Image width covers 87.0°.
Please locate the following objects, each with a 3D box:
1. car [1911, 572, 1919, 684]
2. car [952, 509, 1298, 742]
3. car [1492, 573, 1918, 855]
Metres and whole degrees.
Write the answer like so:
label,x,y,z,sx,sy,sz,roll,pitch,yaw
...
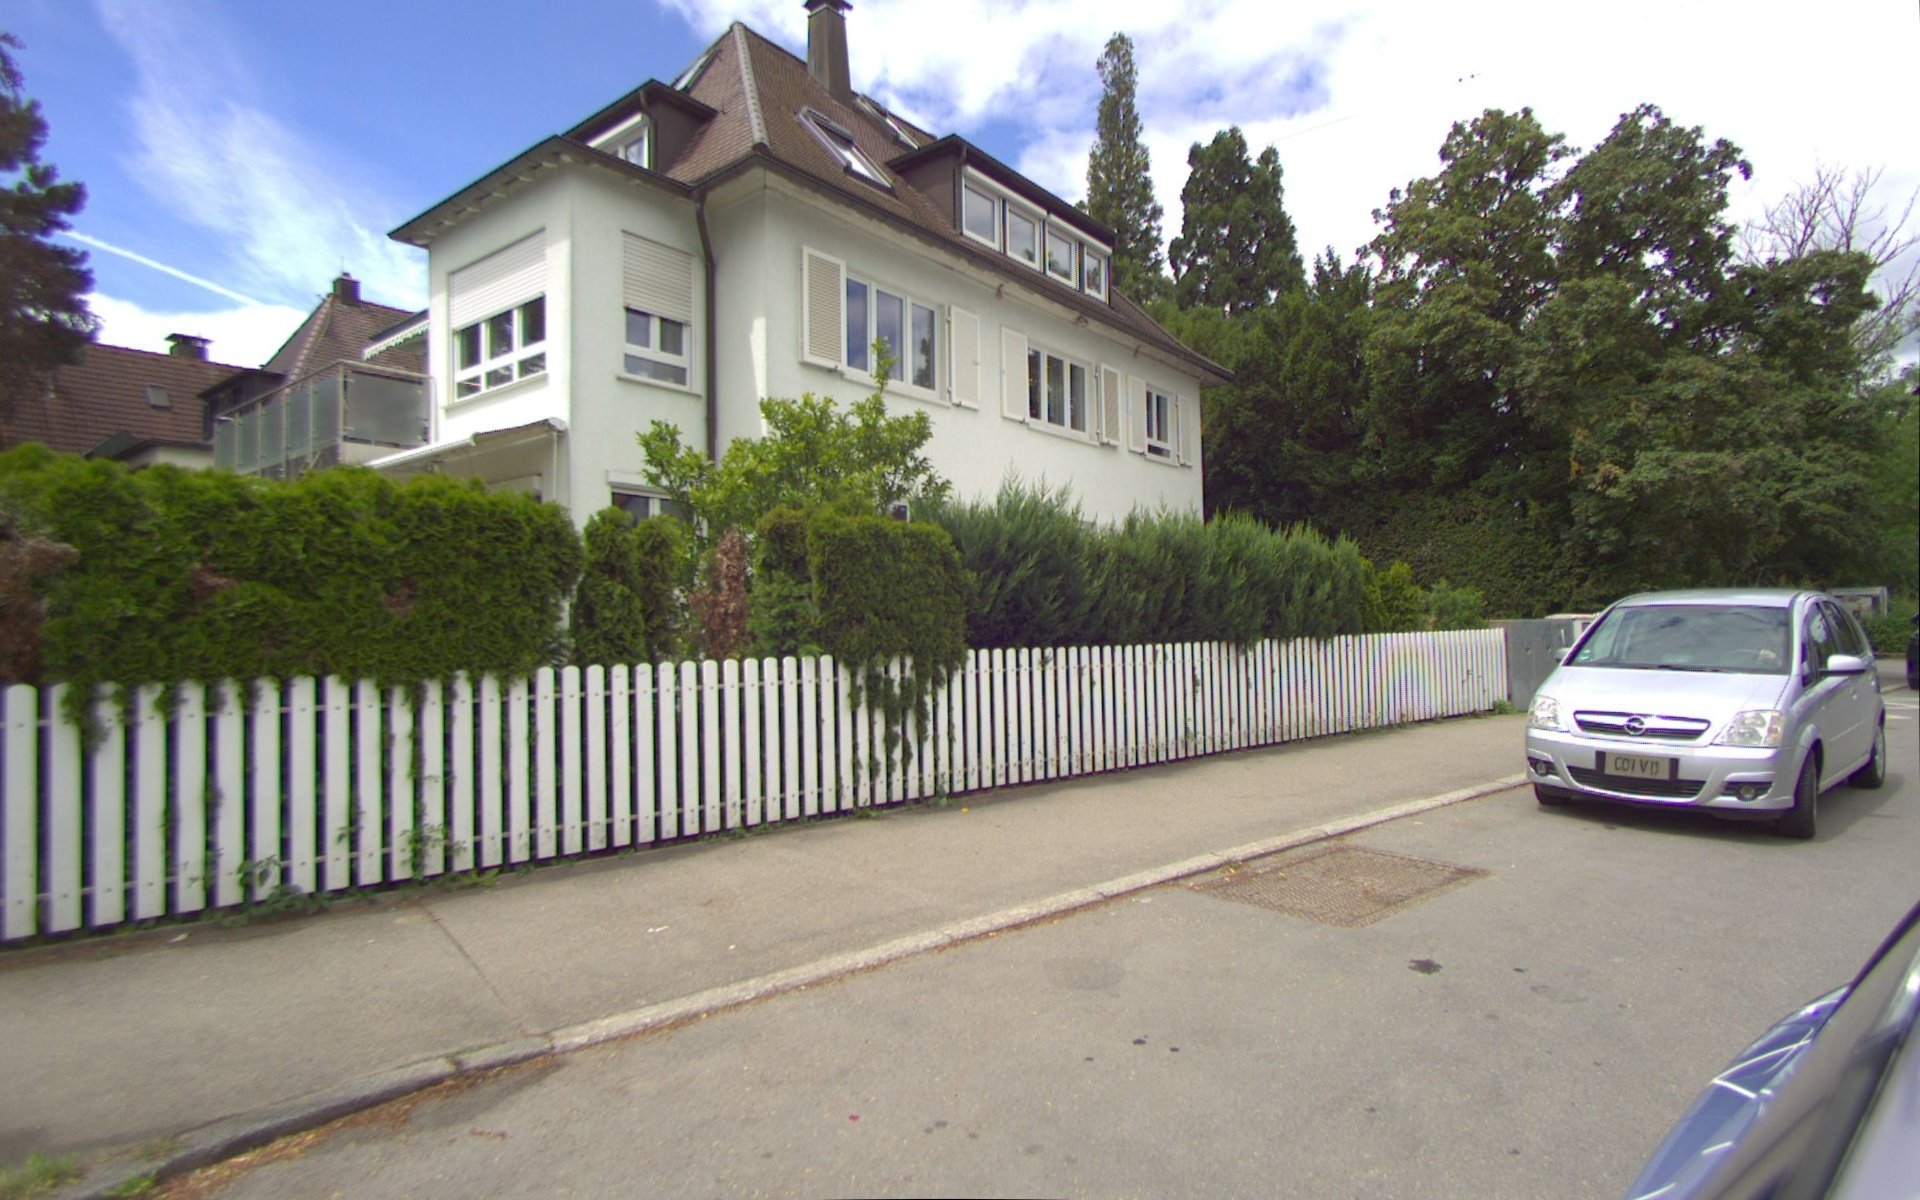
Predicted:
label,x,y,z,sx,sy,sz,roll,pitch,yaw
car,18.571,0.418,17.711,5.062,1.872,1.914,-1,-2,-37
car,2.557,0.370,14.591,2.494,2.717,5.108,-5,-3,41
car,5.797,0.629,7.703,3.948,1.602,1.762,-1,0,-40
